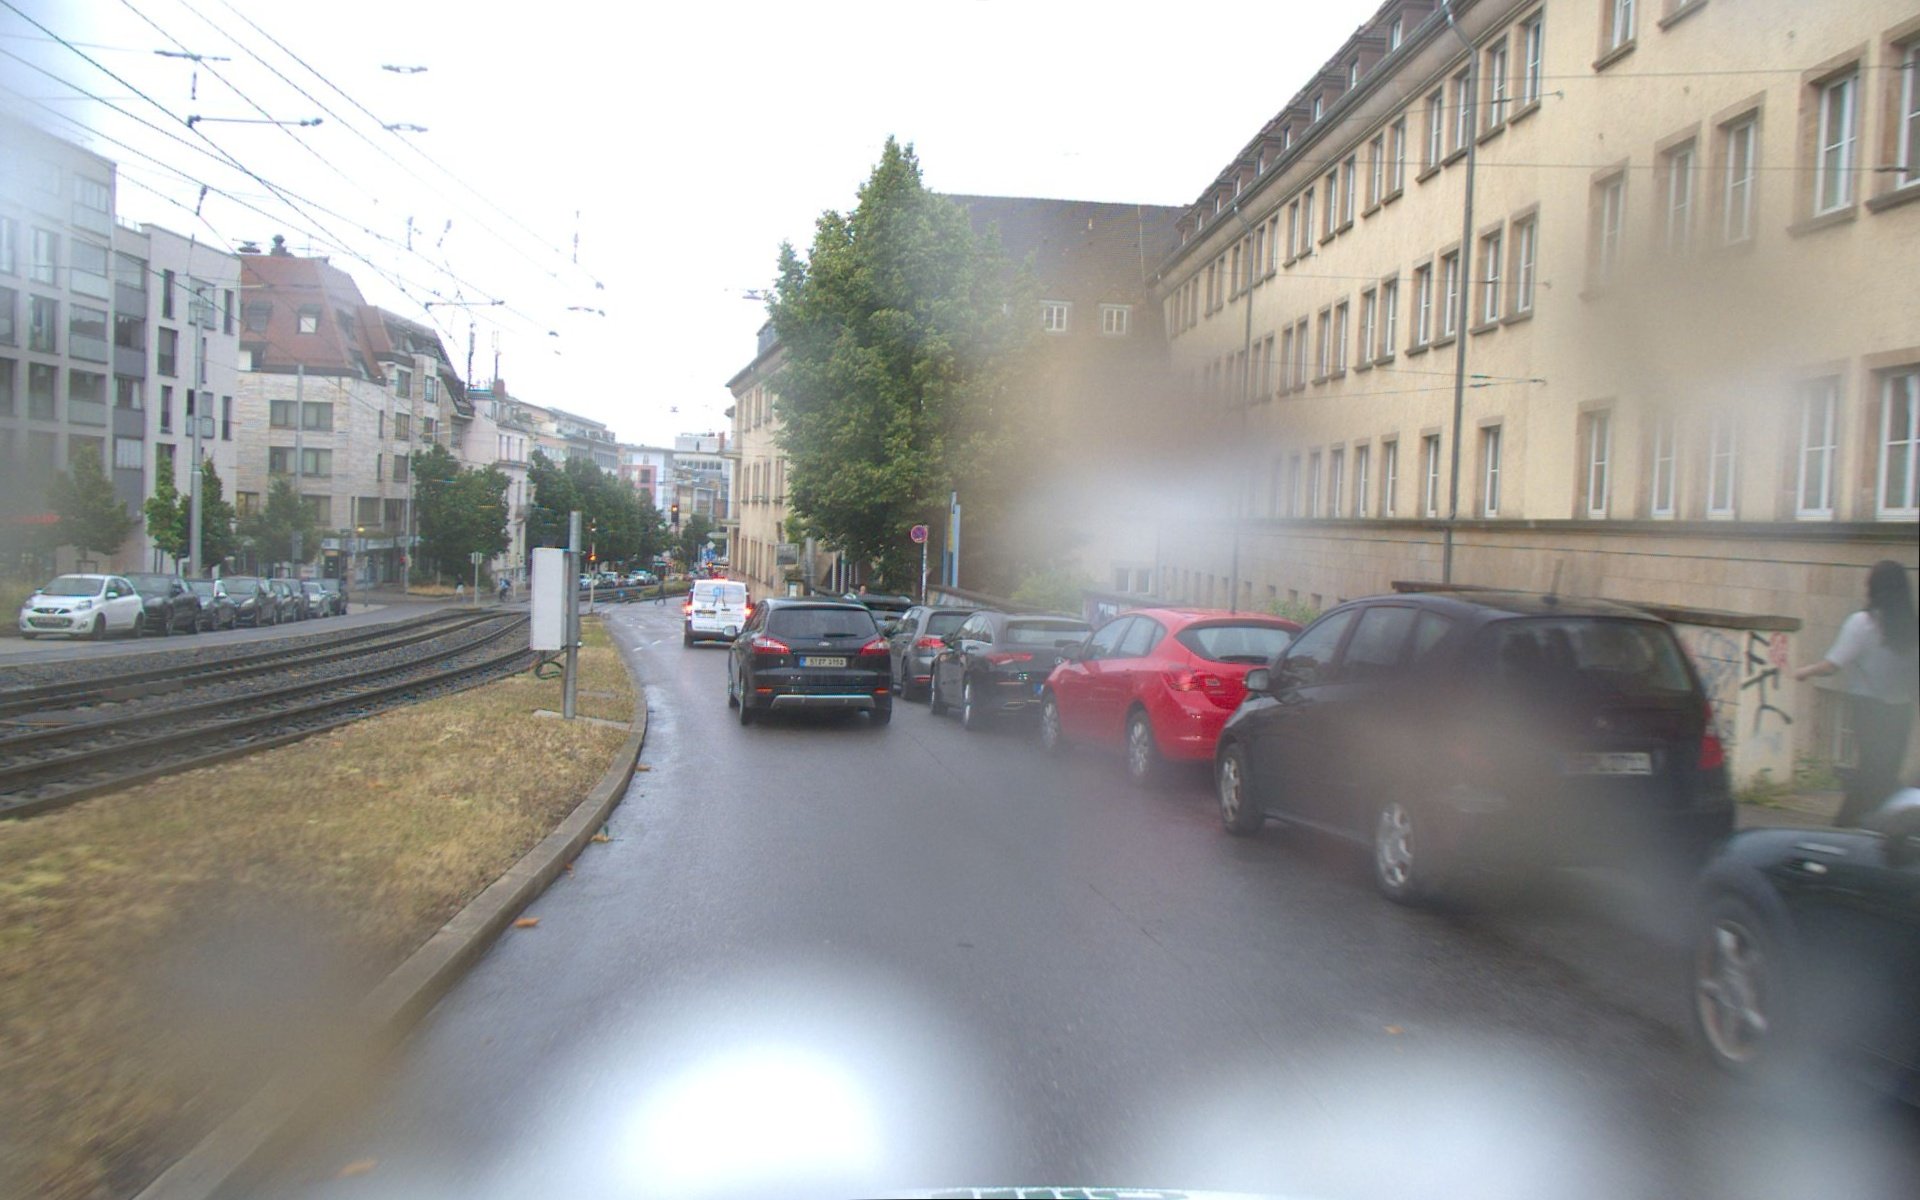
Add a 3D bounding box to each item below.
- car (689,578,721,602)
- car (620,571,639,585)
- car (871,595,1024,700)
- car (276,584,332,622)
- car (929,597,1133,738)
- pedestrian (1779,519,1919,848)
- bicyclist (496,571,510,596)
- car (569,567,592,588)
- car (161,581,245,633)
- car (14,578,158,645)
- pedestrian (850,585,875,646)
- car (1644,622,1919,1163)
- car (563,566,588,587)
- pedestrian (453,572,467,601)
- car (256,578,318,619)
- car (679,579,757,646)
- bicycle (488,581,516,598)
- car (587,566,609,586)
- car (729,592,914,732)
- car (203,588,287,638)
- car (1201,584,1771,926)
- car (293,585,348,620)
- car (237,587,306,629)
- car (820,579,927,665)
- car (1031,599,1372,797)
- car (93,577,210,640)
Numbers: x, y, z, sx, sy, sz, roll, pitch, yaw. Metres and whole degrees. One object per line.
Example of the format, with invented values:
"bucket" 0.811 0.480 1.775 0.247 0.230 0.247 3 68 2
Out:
"car" -19.916 -0.752 129.383 1.953 1.803 3.999 1 0 -2
"car" -40.063 -2.680 200.650 1.956 1.691 3.993 1 0 -8
"car" -0.289 0.678 26.205 1.636 1.502 4.096 0 0 -12
"car" -27.056 0.117 68.308 1.744 1.530 4.066 1 0 -16
"car" 0.748 0.732 20.356 1.635 1.502 4.447 0 0 -10
"pedestrian" 5.178 0.453 9.372 0.703 1.785 0.739 0 0 -1
"bicyclist" -29.857 -1.094 108.025 0.454 1.601 0.698 2 0 40
"car" -38.983 -2.335 169.996 1.956 2.049 3.993 1 0 -8
"car" -22.523 0.194 49.298 1.522 1.460 3.441 1 0 -12
"car" -20.892 0.261 39.701 1.731 1.505 3.730 1 0 -5
"pedestrian" -2.846 0.445 48.230 0.621 1.751 0.709 1 0 -12
"car" 3.386 0.816 4.306 1.506 1.441 3.641 0 0 -4
"car" -38.037 -2.297 163.773 1.956 2.049 3.993 1 0 -8
"pedestrian" -35.095 -0.954 116.093 0.890 1.965 0.821 1 0 -17
"car" -25.967 -0.056 63.898 1.744 1.530 3.904 1 0 -16
"car" -6.934 0.323 47.384 2.097 1.776 4.210 1 1 -9
"bicycle" -29.913 -0.686 108.032 0.449 1.082 1.793 2 0 39
"car" -38.609 -2.582 176.495 1.956 2.049 3.993 1 0 -8
"car" -1.817 0.692 20.518 1.885 1.505 3.990 1 1 -11
"car" -23.427 0.396 54.320 1.689 1.540 4.306 1 0 -12
"car" 2.816 0.713 9.801 1.635 1.600 3.846 0 0 -10
"car" -28.983 0.097 75.048 1.881 1.530 4.218 1 0 -16
"car" -24.656 0.274 59.347 1.522 1.386 3.998 2 0 -12
"car" -1.747 0.384 32.142 1.635 1.551 4.099 0 0 -10
"car" 2.004 0.782 14.982 1.637 1.502 4.052 2 0 -14
"car" -21.447 0.207 44.062 1.734 1.588 4.392 1 0 -12
